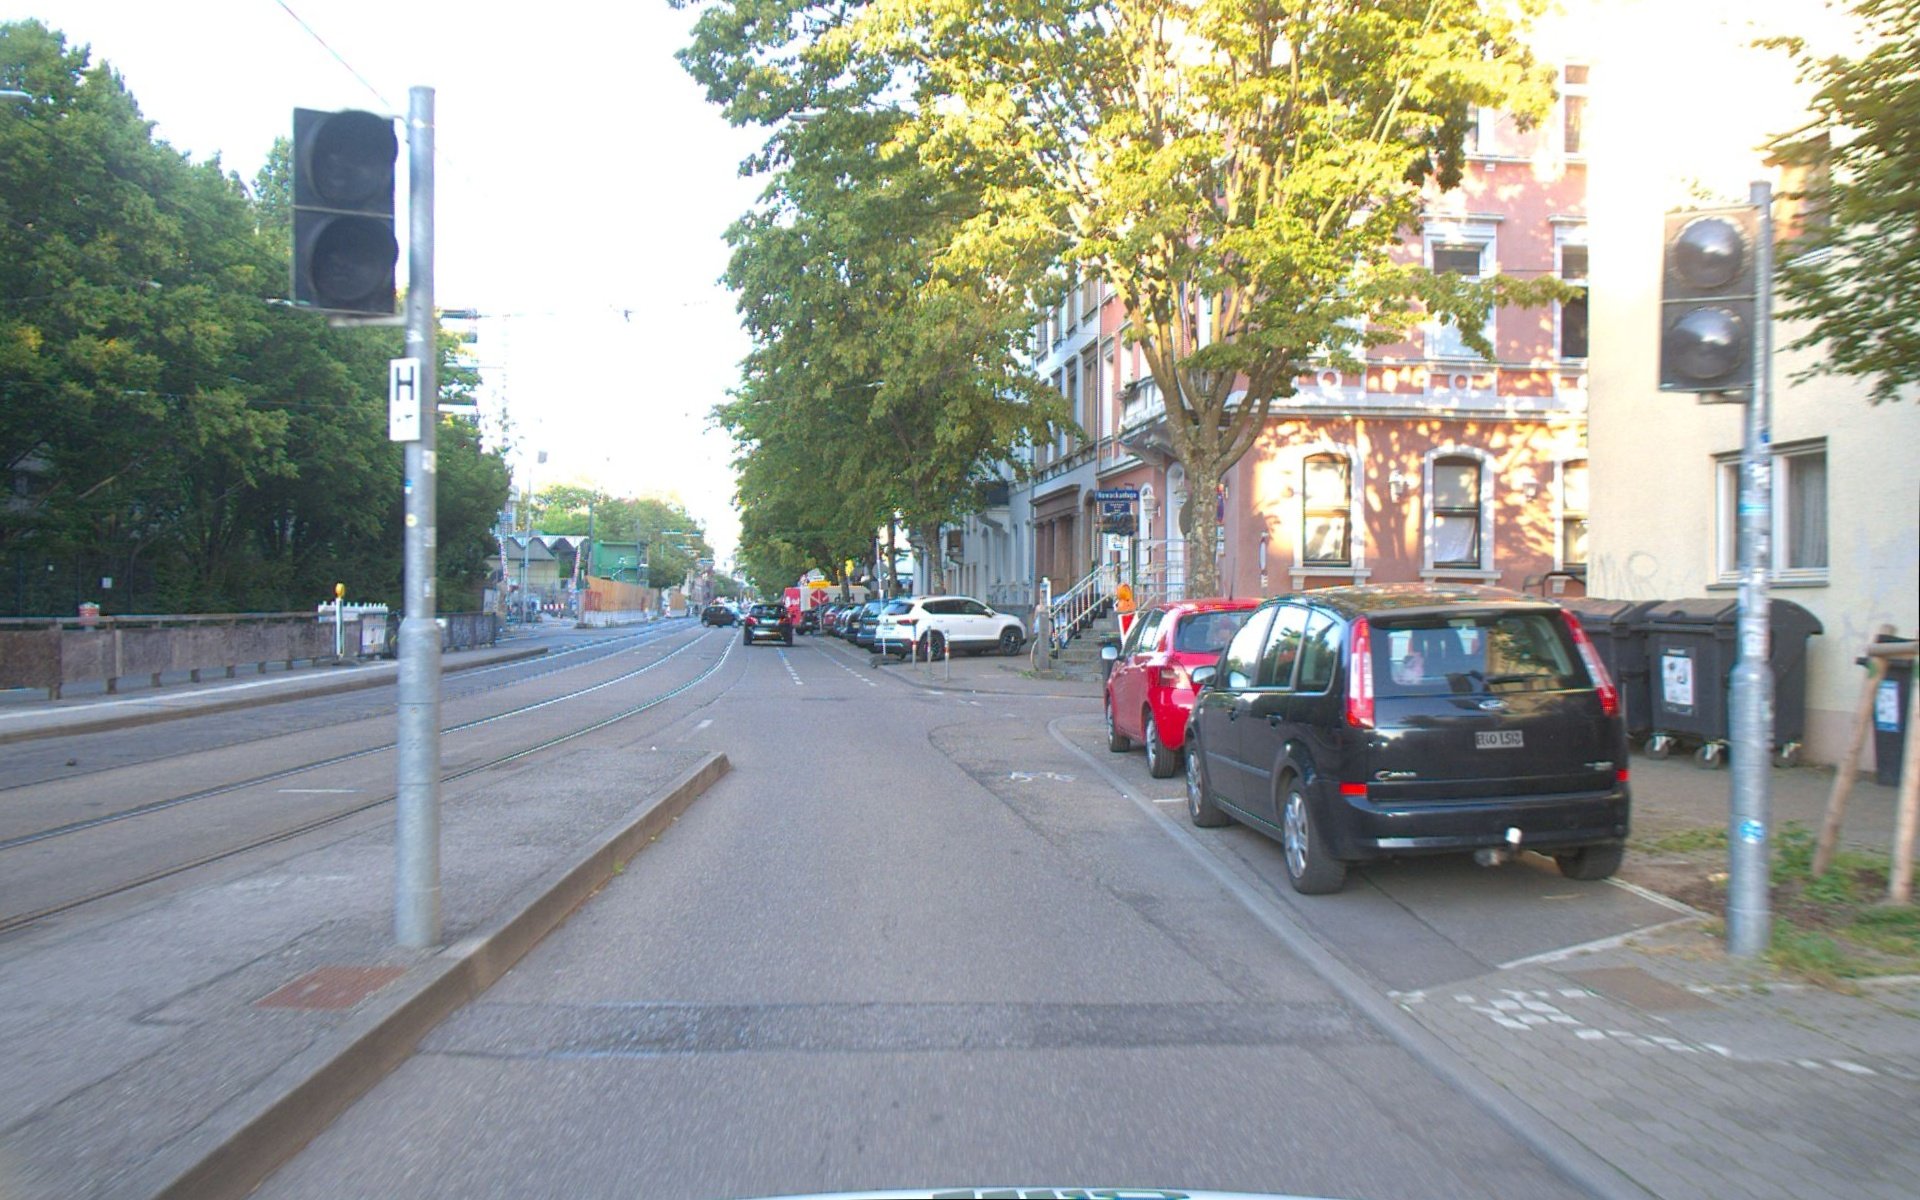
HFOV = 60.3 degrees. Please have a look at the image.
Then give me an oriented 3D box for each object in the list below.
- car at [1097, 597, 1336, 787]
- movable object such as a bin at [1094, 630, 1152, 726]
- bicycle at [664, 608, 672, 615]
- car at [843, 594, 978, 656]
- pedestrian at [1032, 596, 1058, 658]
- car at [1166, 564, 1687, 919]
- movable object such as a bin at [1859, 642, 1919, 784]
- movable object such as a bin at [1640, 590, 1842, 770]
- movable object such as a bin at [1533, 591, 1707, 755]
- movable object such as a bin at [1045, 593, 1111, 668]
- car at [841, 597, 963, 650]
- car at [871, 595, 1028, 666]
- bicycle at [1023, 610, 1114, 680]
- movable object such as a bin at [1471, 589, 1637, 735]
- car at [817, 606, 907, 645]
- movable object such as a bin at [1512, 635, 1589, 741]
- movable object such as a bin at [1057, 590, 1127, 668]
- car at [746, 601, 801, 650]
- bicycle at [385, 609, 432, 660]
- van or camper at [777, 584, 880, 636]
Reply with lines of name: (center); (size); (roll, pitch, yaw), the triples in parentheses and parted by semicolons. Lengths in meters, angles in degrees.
car: (2.328, 0.784, 15.854); (1.533, 1.563, 3.691); (-2, 0, -3)
movable object such as a bin: (2.050, 0.980, 20.864); (0.697, 1.174, 0.588); (1, 0, 5)
bicycle: (-33.611, 1.309, 190.468); (0.930, 0.864, 2.690); (1, 0, -10)
car: (-1.492, 0.761, 51.020); (3.926, 1.697, 1.870); (-2, 0, -45)
pedestrian: (2.245, 0.707, 43.507); (0.575, 1.637, 0.623); (1, 0, -7)
car: (2.528, 0.689, 10.062); (1.709, 1.660, 4.084); (-2, 0, -4)
movable object such as a bin: (7.439, 0.865, 12.873); (0.543, 1.066, 0.570); (1, 0, -9)
movable object such as a bin: (6.931, 0.687, 14.741); (1.119, 1.528, 1.268); (1, 0, -8)
movable object such as a bin: (6.403, 0.686, 16.117); (1.052, 1.528, 1.316); (1, 0, -9)
movable object such as a bin: (2.460, 0.623, 34.715); (1.119, 1.528, 1.396); (1, 0, -8)
car: (-1.977, 0.801, 57.055); (3.917, 1.631, 1.814); (-2, -1, -40)
car: (-0.243, 0.760, 43.091); (3.915, 1.655, 1.651); (-2, 1, -38)
bicycle: (2.088, 0.840, 31.598); (1.902, 1.288, 0.592); (0, -1, -43)
movable object such as a bin: (6.527, 0.661, 18.276); (1.119, 1.528, 1.595); (1, 0, -8)
car: (-4.685, 1.222, 79.327); (3.908, 1.631, 1.818); (-3, 0, -34)
movable object such as a bin: (6.093, 0.897, 17.079); (0.543, 1.066, 0.570); (1, 0, -9)
movable object such as a bin: (2.642, 0.579, 33.298); (1.119, 1.528, 1.396); (1, 0, -8)
car: (-6.896, 0.920, 60.851); (1.846, 1.648, 3.993); (3, -1, -8)
bicycle: (-12.121, 0.741, 36.380); (0.453, 1.094, 2.020); (0, 0, -3)
van or camper: (-7.208, 0.519, 91.068); (5.504, 2.574, 2.054); (-3, 0, -43)
